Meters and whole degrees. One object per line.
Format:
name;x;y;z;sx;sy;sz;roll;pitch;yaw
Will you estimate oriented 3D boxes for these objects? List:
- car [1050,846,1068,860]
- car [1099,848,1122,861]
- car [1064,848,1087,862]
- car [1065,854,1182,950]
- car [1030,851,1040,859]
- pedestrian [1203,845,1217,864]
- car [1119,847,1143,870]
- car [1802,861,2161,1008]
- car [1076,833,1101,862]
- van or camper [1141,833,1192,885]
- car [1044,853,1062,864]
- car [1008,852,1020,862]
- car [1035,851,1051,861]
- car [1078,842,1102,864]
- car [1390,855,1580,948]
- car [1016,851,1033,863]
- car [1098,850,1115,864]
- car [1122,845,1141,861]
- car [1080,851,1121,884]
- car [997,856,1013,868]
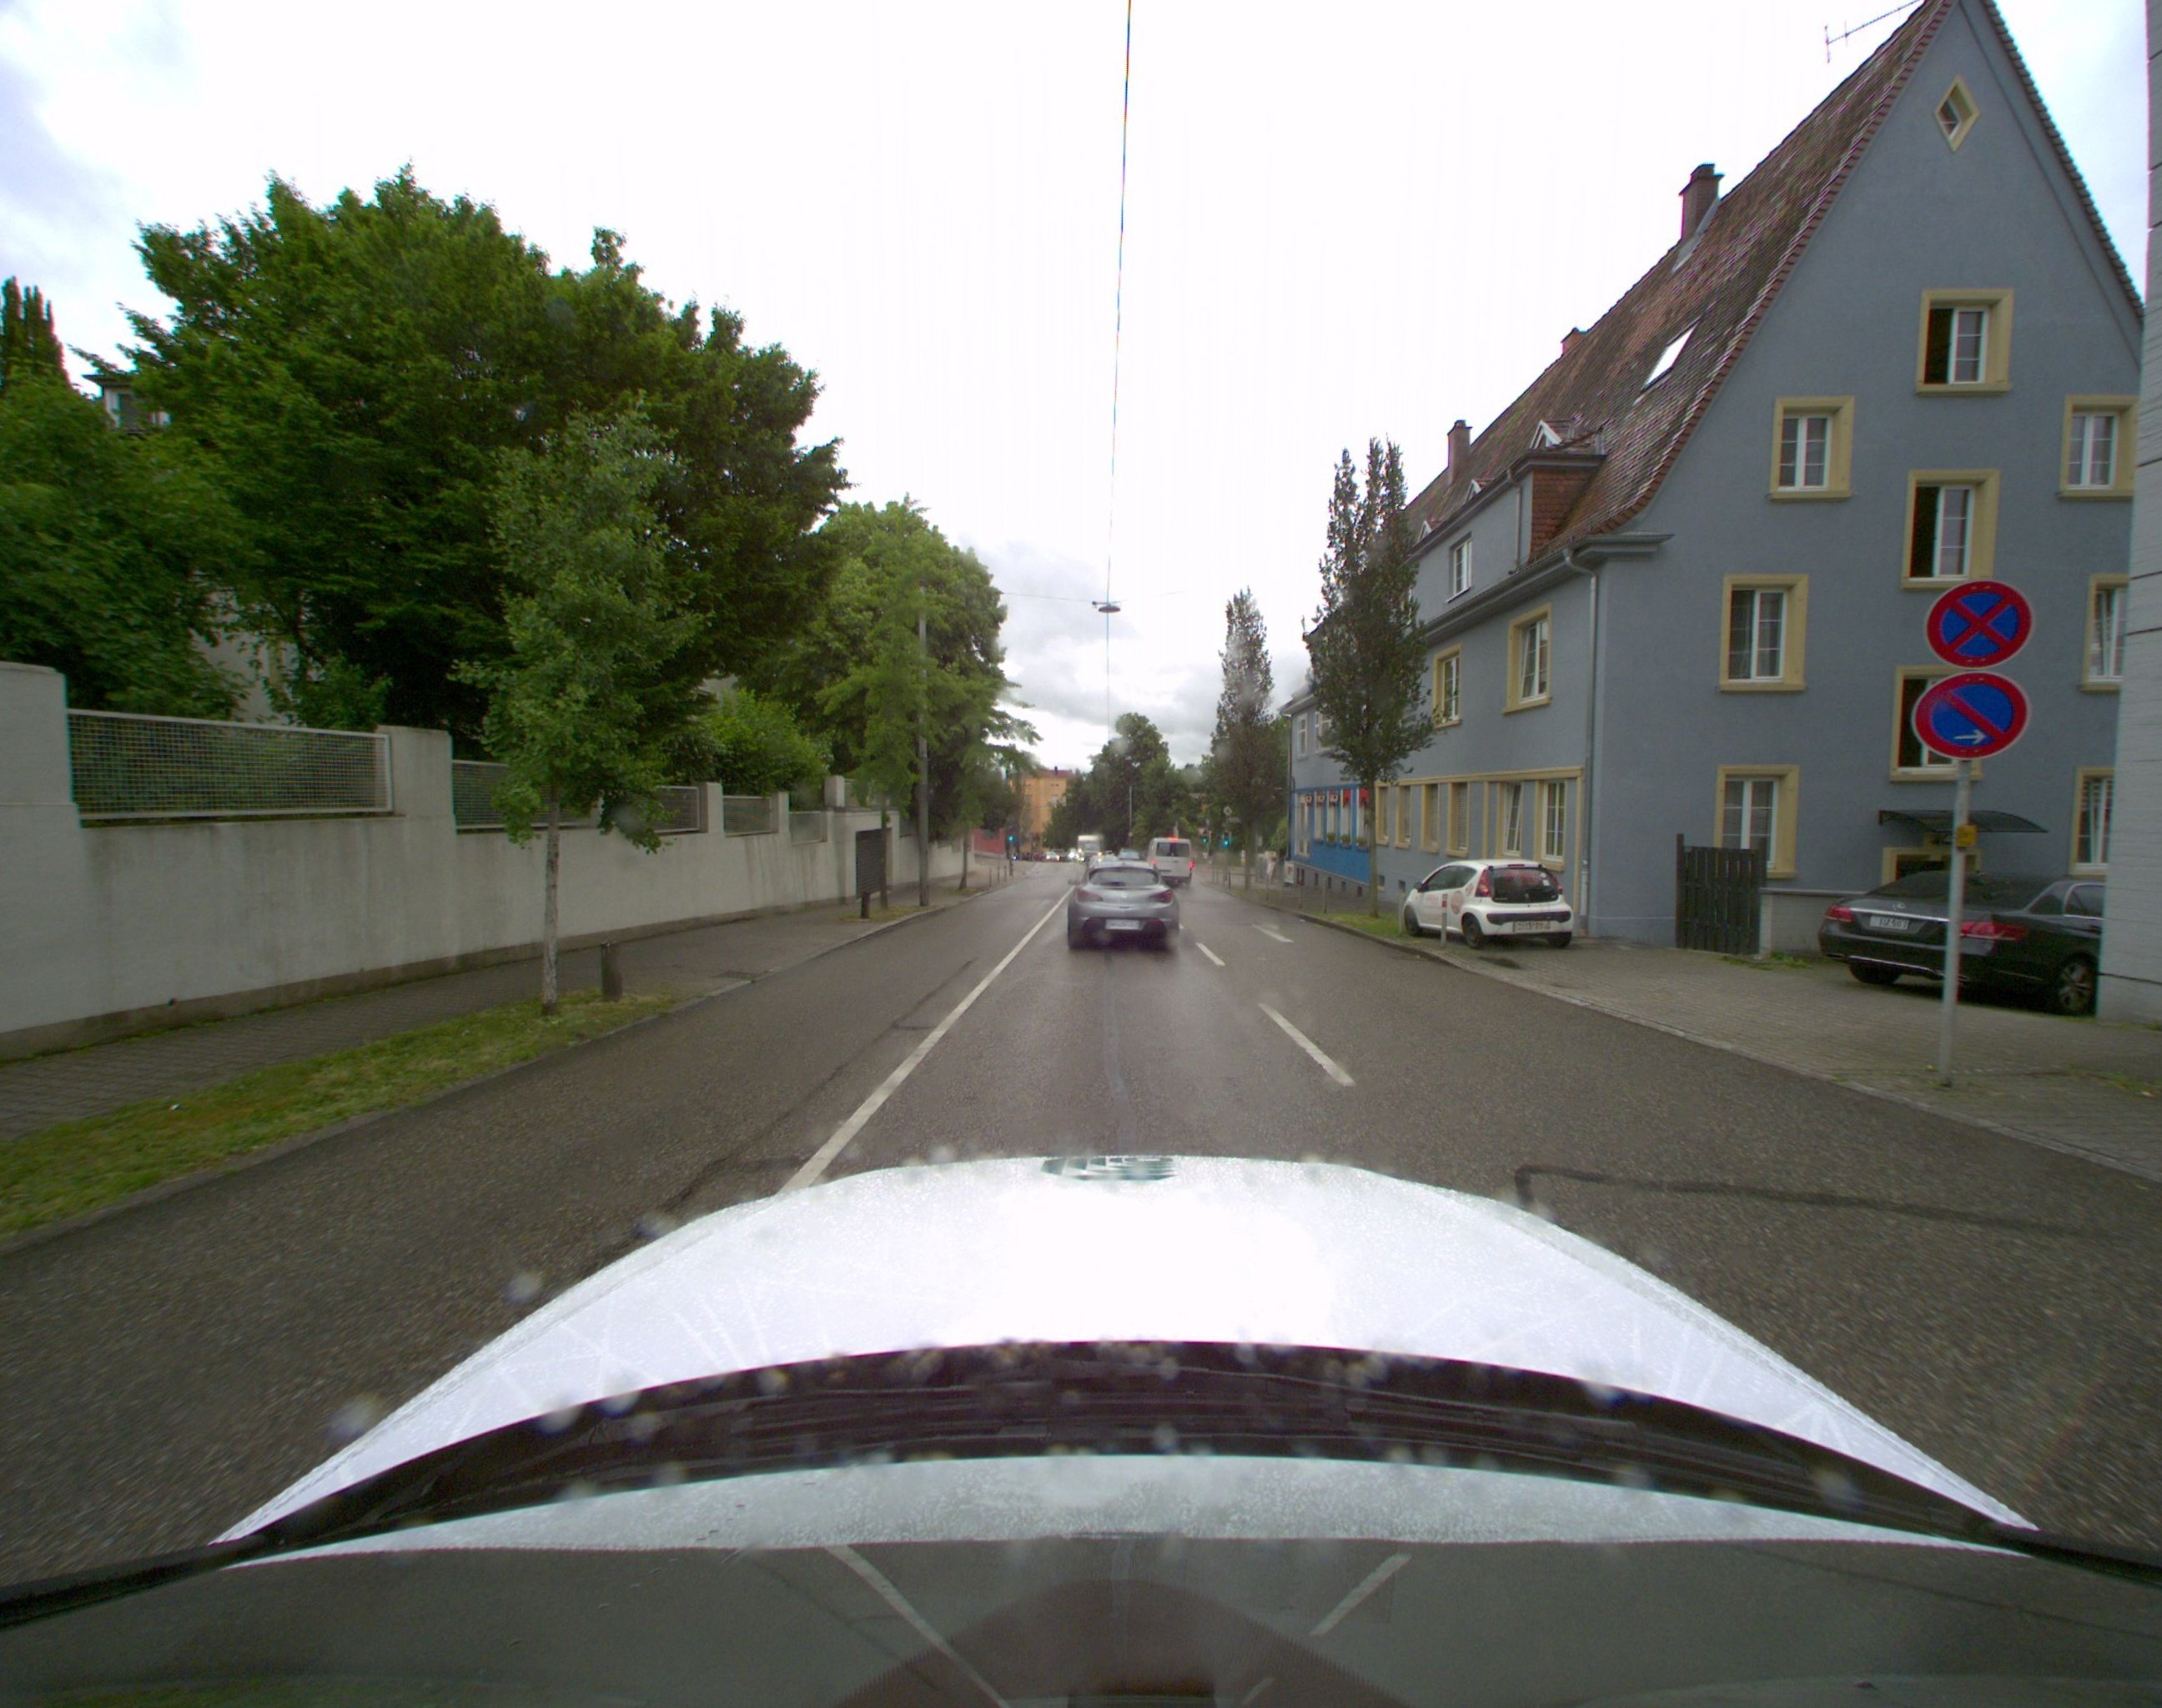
car;-3.233;-0.152;119.383;1.784;1.855;3.980;1;-1;-14
car;3.757;0.072;105.086;1.818;1.495;3.981;-5;0;-14
car;-0.642;0.144;90.880;1.874;1.575;4.572;0;0;-9
car;0.729;0.751;14.762;1.808;1.429;4.002;1;1;2
car;-9.151;0.231;162.211;1.772;1.429;3.782;1;1;-3
pedestrian;11.253;0.029;71.052;0.769;1.605;0.958;-2;0;-25
car;3.263;0.275;53.230;1.378;1.411;3.456;-1;0;0
car;10.916;0.914;9.465;4.364;1.407;1.798;4;-1;-18
car;0.610;-0.580;74.668;2.111;2.545;5.536;0;0;-1
van or camper;4.162;0.222;40.526;2.096;2.326;5.419;2;0;2
car;-3.737;0.633;108.742;1.774;1.497;4.248;1;-1;-9
car;-10.497;0.412;127.668;1.849;1.486;5.361;0;1;-4
car;-6.857;0.341;145.014;1.820;1.467;3.976;-4;0;-17
car;0.686;-0.100;65.769;1.816;1.652;4.345;1;1;-1
car;7.055;0.752;14.625;1.582;1.411;3.453;-1;0;-2
car;-9.776;0.593;140.633;2.000;2.014;3.974;0;-1;-19
car;2.931;0.364;94.733;1.618;1.486;3.429;0;-1;-5
car;4.884;-0.085;78.763;1.615;1.486;3.434;0;-1;-1
car;0.897;0.614;37.606;1.769;1.430;3.787;-1;-1;1
car;-10.729;1.089;114.859;1.815;1.612;3.985;2;-1;-11
